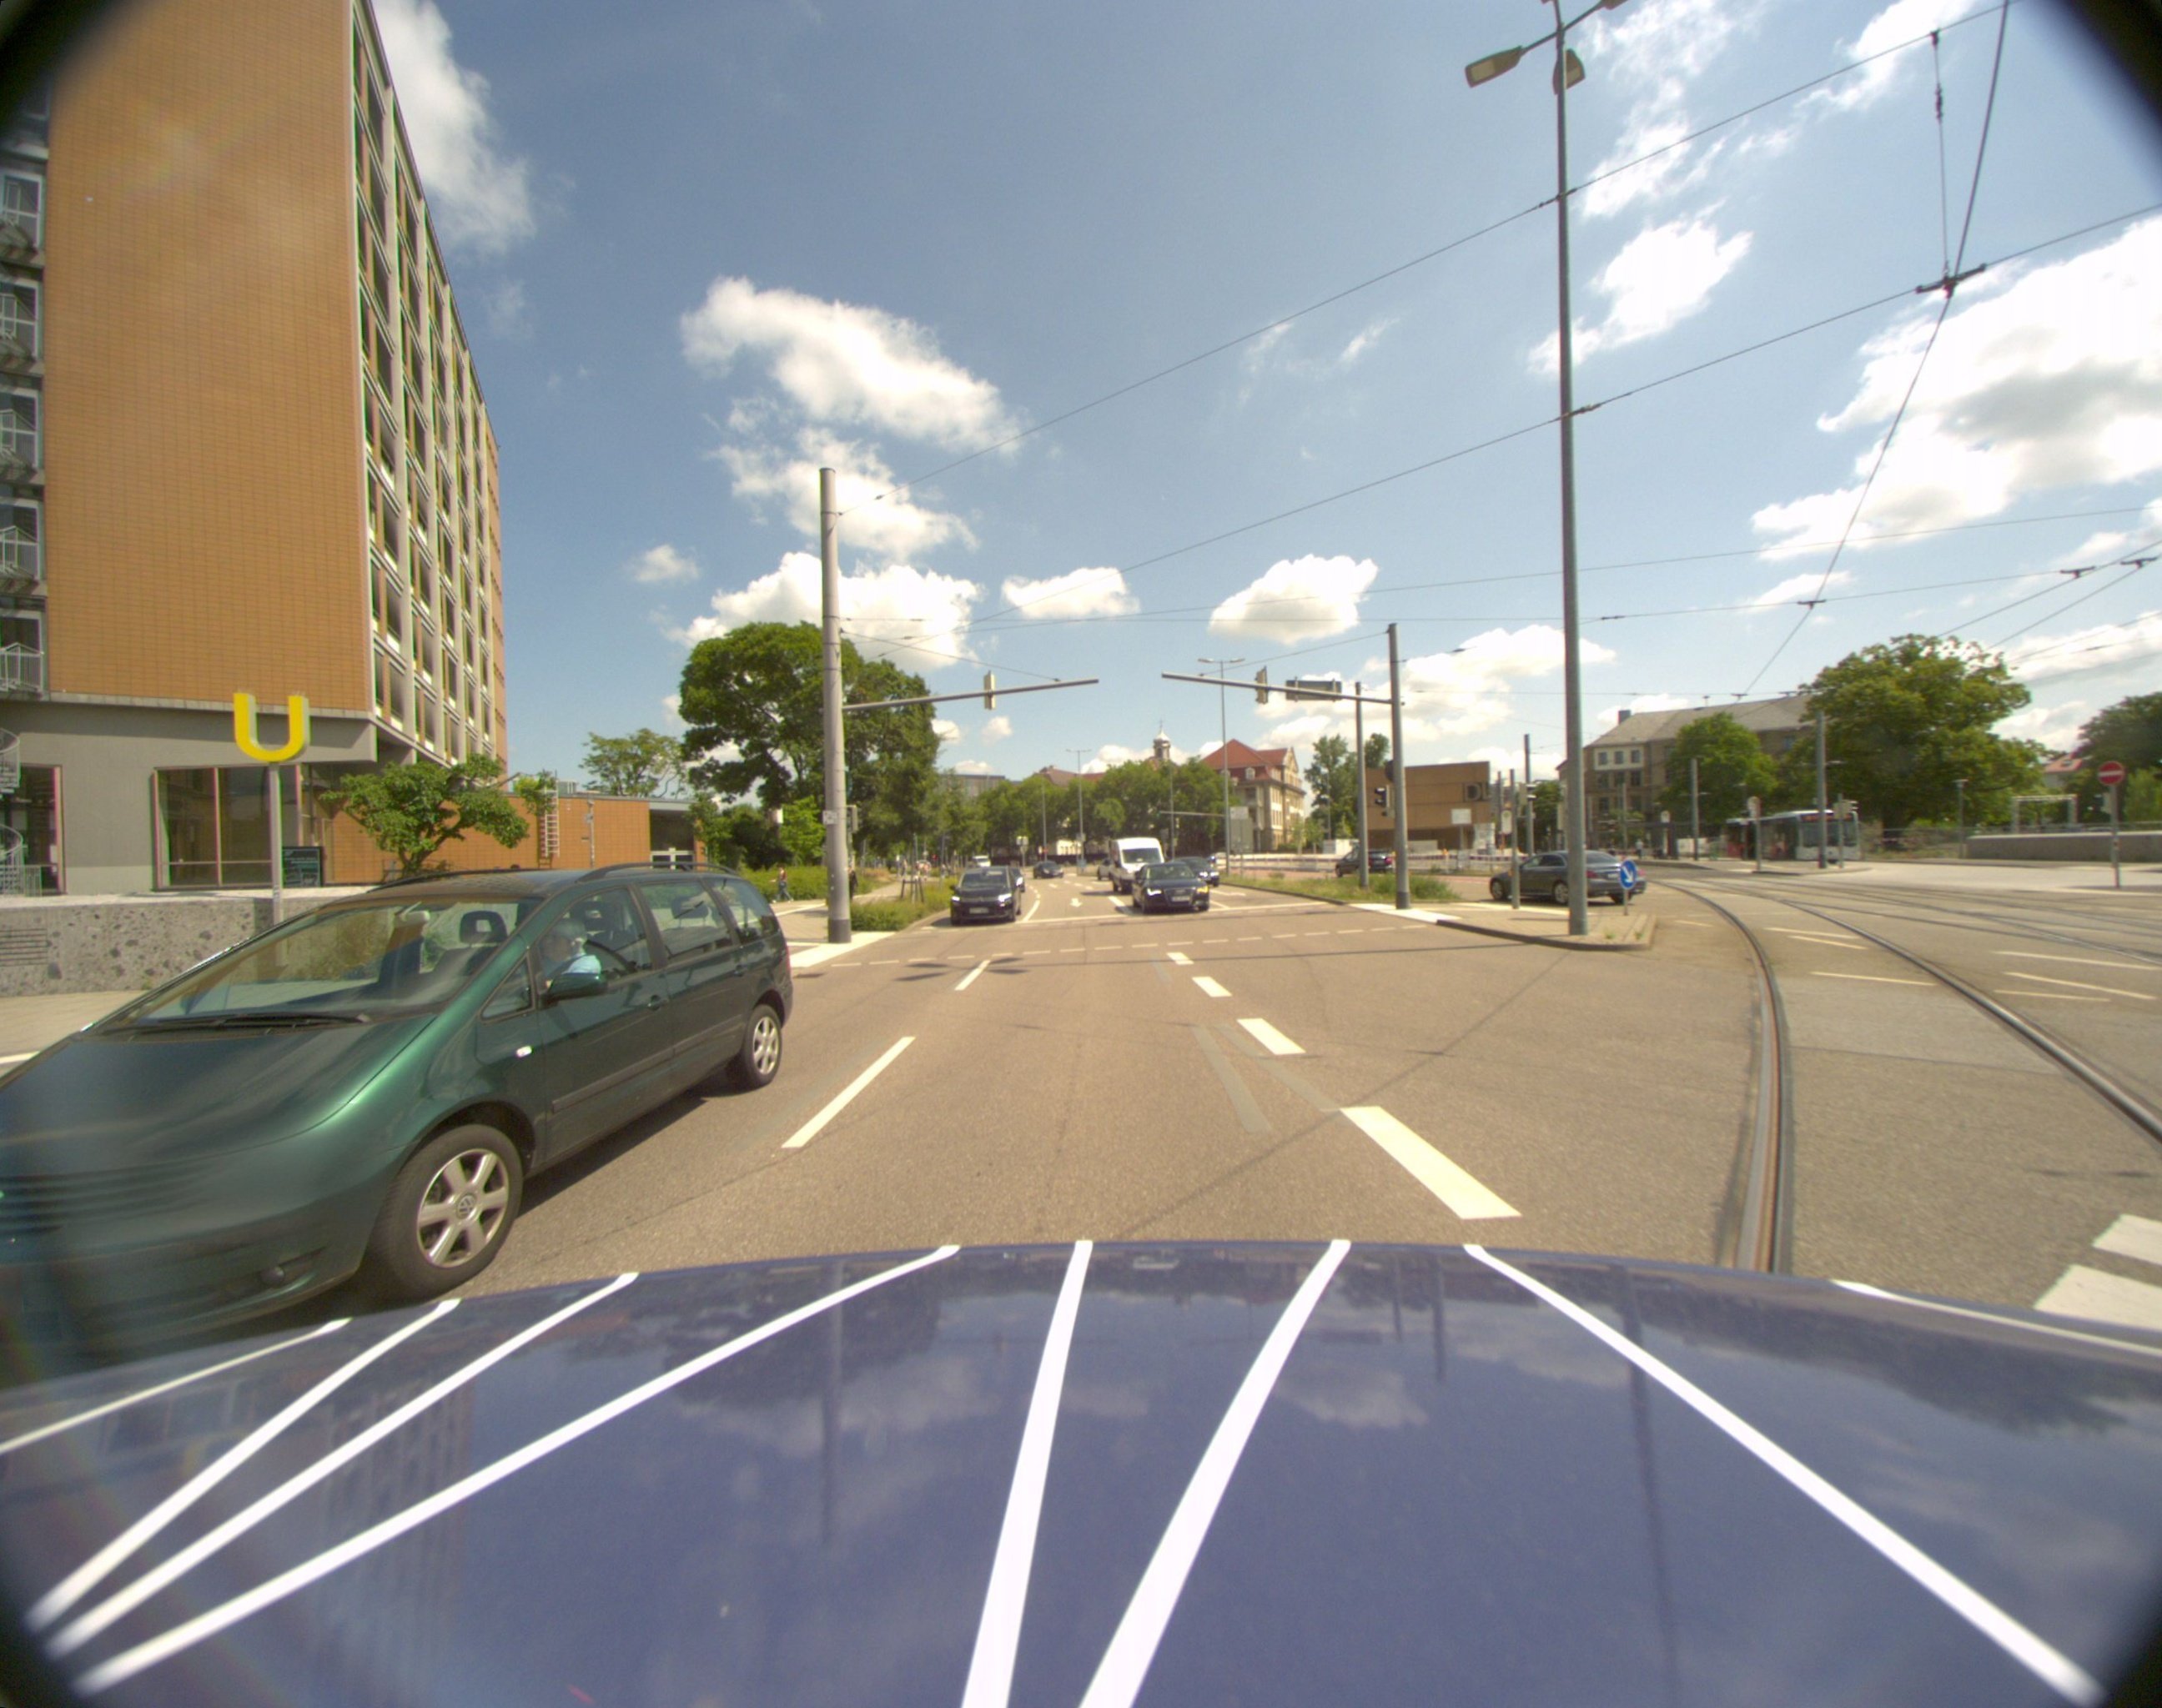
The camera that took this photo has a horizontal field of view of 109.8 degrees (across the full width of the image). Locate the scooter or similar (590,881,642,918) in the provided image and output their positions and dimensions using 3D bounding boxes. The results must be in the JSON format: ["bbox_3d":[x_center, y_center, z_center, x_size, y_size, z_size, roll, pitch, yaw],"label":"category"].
[{"bbox_3d":[-15.180,1.470,24.850,0.230,1.117,1.455,-2,-1,35],"label":"scooter or similar"}]

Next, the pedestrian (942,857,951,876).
[{"bbox_3d":[-11.597,1.078,65.367,0.652,1.617,0.774,0,1,-3],"label":"pedestrian"}]

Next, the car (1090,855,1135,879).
[{"bbox_3d":[2.177,0.891,54.202,1.753,1.496,4.514,-5,1,-16],"label":"car"}]

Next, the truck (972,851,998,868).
[{"bbox_3d":[-14.328,0.782,112.979,2.465,2.288,5.806,-5,1,-21],"label":"truck"}]

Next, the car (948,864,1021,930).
[{"bbox_3d":[-2.805,1.201,22.940,1.863,1.613,4.518,-3,1,-4],"label":"car"}]

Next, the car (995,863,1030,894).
[{"bbox_3d":[-3.862,1.317,42.607,1.766,1.409,4.360,-4,1,-5],"label":"car"}]

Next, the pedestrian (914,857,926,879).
[{"bbox_3d":[-13.735,1.225,64.796,0.759,1.811,0.637,-4,2,-18],"label":"pedestrian"}]

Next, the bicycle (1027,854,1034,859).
[{"bbox_3d":[-10.599,0.601,158.258,1.635,1.037,0.399,-2,1,44],"label":"bicycle"}]

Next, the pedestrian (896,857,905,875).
[{"bbox_3d":[-17.505,1.164,73.575,0.753,1.742,0.608,-1,0,-20],"label":"pedestrian"}]

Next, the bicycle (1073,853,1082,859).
[{"bbox_3d":[-0.669,0.393,149.180,2.033,1.130,0.399,-2,1,39],"label":"bicycle"}]

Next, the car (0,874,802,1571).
[{"bbox_3d":[-3.365,1.038,4.189,1.798,1.712,4.449,-3,-1,2],"label":"car"}]

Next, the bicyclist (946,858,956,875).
[{"bbox_3d":[-12.518,1.164,73.015,0.831,1.592,0.578,0,1,-20],"label":"bicyclist"}]

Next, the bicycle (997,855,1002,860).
[{"bbox_3d":[-17.891,0.823,166.260,0.378,1.037,1.413,-3,1,-41],"label":"bicycle"}]

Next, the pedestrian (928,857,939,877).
[{"bbox_3d":[-13.514,1.204,69.516,0.759,1.810,0.778,1,0,-25],"label":"pedestrian"}]

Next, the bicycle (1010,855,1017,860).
[{"bbox_3d":[-14.472,0.781,162.358,0.399,0.998,1.757,-3,1,-41],"label":"bicycle"}]

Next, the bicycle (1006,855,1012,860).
[{"bbox_3d":[-15.612,0.792,163.664,0.399,1.037,1.579,-3,1,-41],"label":"bicycle"}]

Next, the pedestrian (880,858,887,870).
[{"bbox_3d":[-29.807,1.537,114.855,0.753,1.767,0.879,-1,0,-33],"label":"pedestrian"}]

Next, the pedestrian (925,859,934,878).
[{"bbox_3d":[-12.993,1.257,65.078,0.589,1.617,0.726,-4,2,-18],"label":"pedestrian"}]

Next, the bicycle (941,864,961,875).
[{"bbox_3d":[-12.498,1.447,73.031,1.817,1.044,0.591,0,1,-20],"label":"bicycle"}]

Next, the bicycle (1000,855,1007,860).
[{"bbox_3d":[-16.830,0.792,165.038,0.399,1.037,1.757,-3,1,-41],"label":"bicycle"}]

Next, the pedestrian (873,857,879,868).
[{"bbox_3d":[-30.856,1.298,114.192,0.669,1.736,0.608,-1,0,-33],"label":"pedestrian"}]

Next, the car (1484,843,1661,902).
[{"bbox_3d":[13.383,0.447,21.100,1.658,1.383,4.774,-2,0,-2],"label":"car"}]

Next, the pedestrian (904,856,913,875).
[{"bbox_3d":[-16.813,1.146,74.007,0.753,1.792,0.608,-1,0,-20],"label":"pedestrian"}]

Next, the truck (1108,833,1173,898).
[{"bbox_3d":[2.621,0.453,34.984,2.143,2.625,5.915,-3,1,-2],"label":"truck"}]

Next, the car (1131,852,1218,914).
[{"bbox_3d":[2.750,0.799,23.367,1.933,1.632,4.791,-3,0,-1],"label":"car"}]

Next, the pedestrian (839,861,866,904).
[{"bbox_3d":[-8.917,1.112,29.670,0.758,1.581,0.761,-3,2,-3],"label":"pedestrian"}]

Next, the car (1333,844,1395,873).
[{"bbox_3d":[15.652,0.242,42.216,1.658,1.460,4.152,-2,0,-3],"label":"car"}]

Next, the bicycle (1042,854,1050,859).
[{"bbox_3d":[-7.059,0.540,154.695,1.952,1.037,0.399,-2,1,44],"label":"bicycle"}]

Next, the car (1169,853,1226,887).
[{"bbox_3d":[5.528,0.739,36.584,1.752,1.426,4.519,-4,0,-4],"label":"car"}]

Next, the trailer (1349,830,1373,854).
[{"bbox_3d":[35.844,-1.566,97.443,1.997,2.897,4.368,-3,2,10],"label":"trailer"}]

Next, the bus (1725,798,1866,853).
[{"bbox_3d":[43.523,-1.817,46.883,2.589,2.843,12.283,-2,2,25],"label":"bus"}]

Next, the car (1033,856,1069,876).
[{"bbox_3d":[-2.618,1.012,65.453,1.754,1.496,4.513,-5,1,-19],"label":"car"}]
